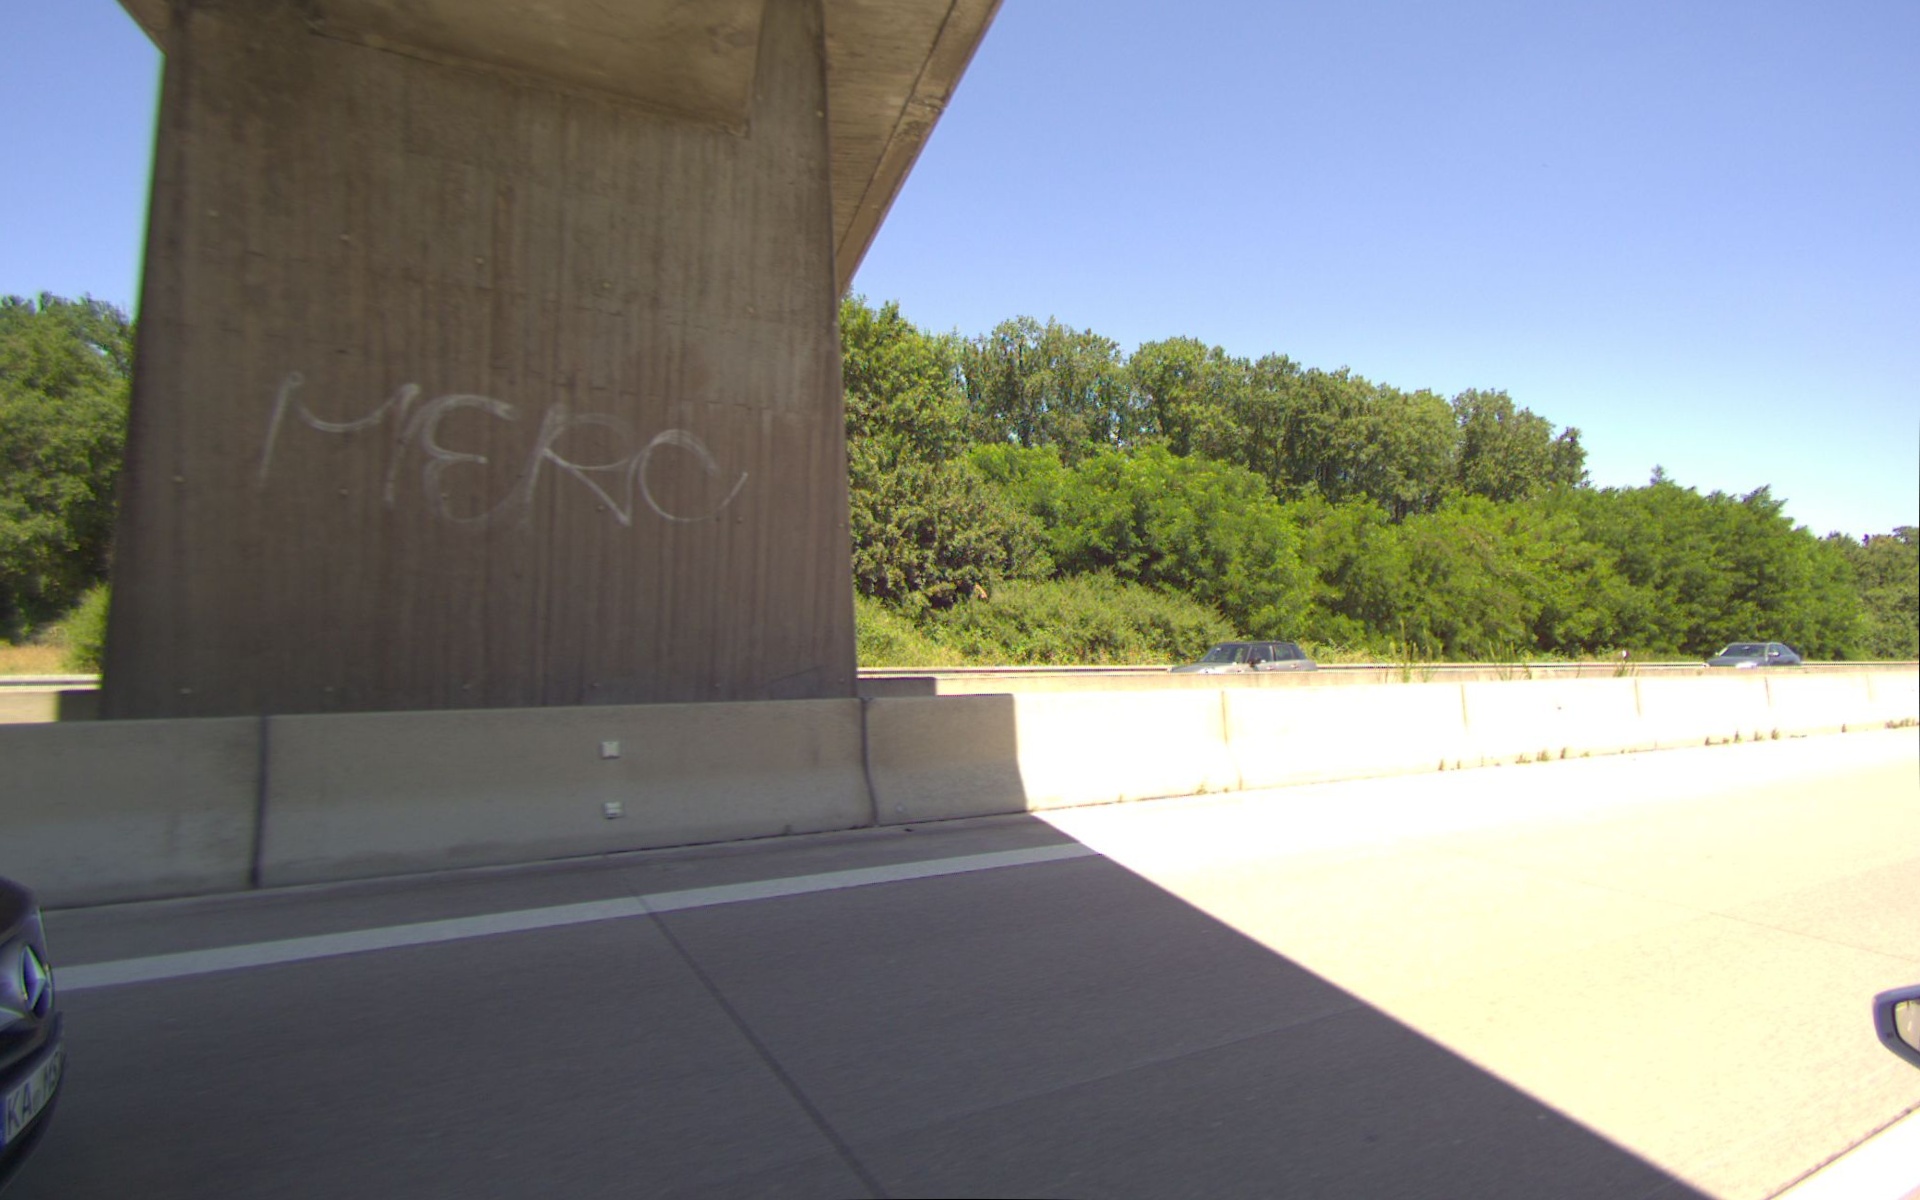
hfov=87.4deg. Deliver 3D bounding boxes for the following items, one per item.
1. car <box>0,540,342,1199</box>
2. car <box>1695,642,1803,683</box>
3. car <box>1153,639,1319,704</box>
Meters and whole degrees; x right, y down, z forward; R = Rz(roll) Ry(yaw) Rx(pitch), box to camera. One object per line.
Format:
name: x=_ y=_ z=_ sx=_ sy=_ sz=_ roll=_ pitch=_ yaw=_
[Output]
car: x=-3.991 y=0.619 z=1.106 sx=5.537 sy=1.493 sz=1.882 roll=1 pitch=-1 yaw=-30
car: x=27.931 y=2.169 z=35.524 sx=4.321 sy=1.336 sz=1.558 roll=2 pitch=-2 yaw=-31
car: x=6.233 y=1.576 z=22.626 sx=3.590 sy=1.336 sz=1.558 roll=2 pitch=-2 yaw=-31
